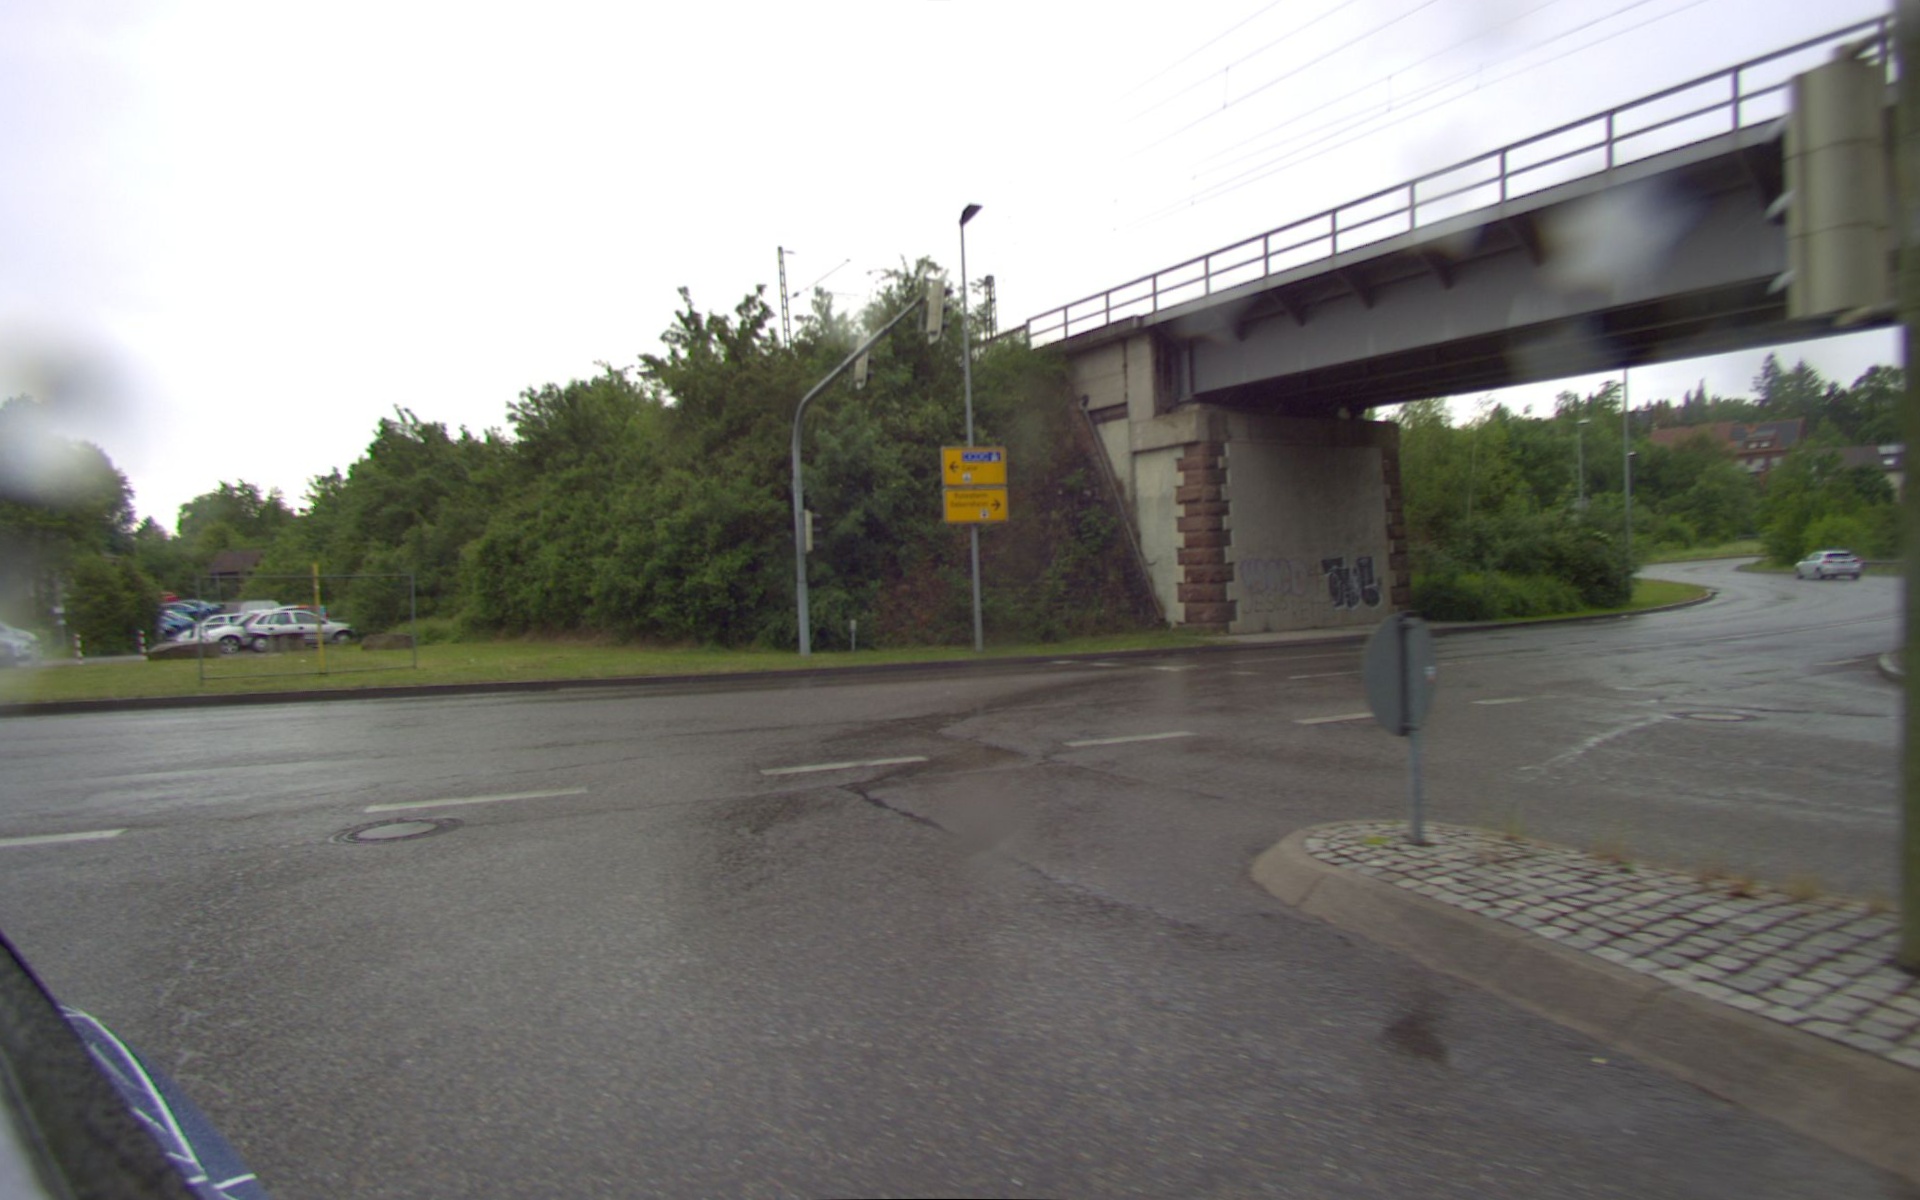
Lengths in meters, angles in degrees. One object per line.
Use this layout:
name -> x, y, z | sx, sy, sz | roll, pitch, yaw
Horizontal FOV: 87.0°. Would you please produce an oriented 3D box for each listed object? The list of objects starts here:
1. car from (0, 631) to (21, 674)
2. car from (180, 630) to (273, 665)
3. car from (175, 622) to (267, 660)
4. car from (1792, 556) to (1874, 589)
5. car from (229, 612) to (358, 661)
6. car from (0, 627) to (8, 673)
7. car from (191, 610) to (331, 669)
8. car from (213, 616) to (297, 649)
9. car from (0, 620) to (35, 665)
car -> -36.019, 1.918, 36.048 | 3.567, 1.523, 1.596 | -1, -1, -35
car -> -38.196, 2.442, 52.726 | 3.820, 1.640, 1.697 | -1, -1, -40
car -> -39.817, 2.189, 54.573 | 3.900, 1.894, 1.697 | -1, -1, -40
car -> 45.153, -1.388, 52.448 | 1.987, 1.574, 3.969 | -2, -1, 23
car -> -23.818, 1.266, 36.193 | 3.762, 1.580, 1.779 | -1, -1, -36
car -> -34.658, 1.738, 34.017 | 3.649, 1.586, 1.596 | -1, -1, -35
car -> -25.832, 1.427, 37.495 | 4.166, 1.995, 1.909 | -1, -1, -36
car -> -35.675, 1.616, 51.221 | 3.424, 1.551, 1.451 | -1, -1, -38
car -> -39.392, 1.710, 39.742 | 4.317, 1.779, 1.926 | -1, -1, -35
